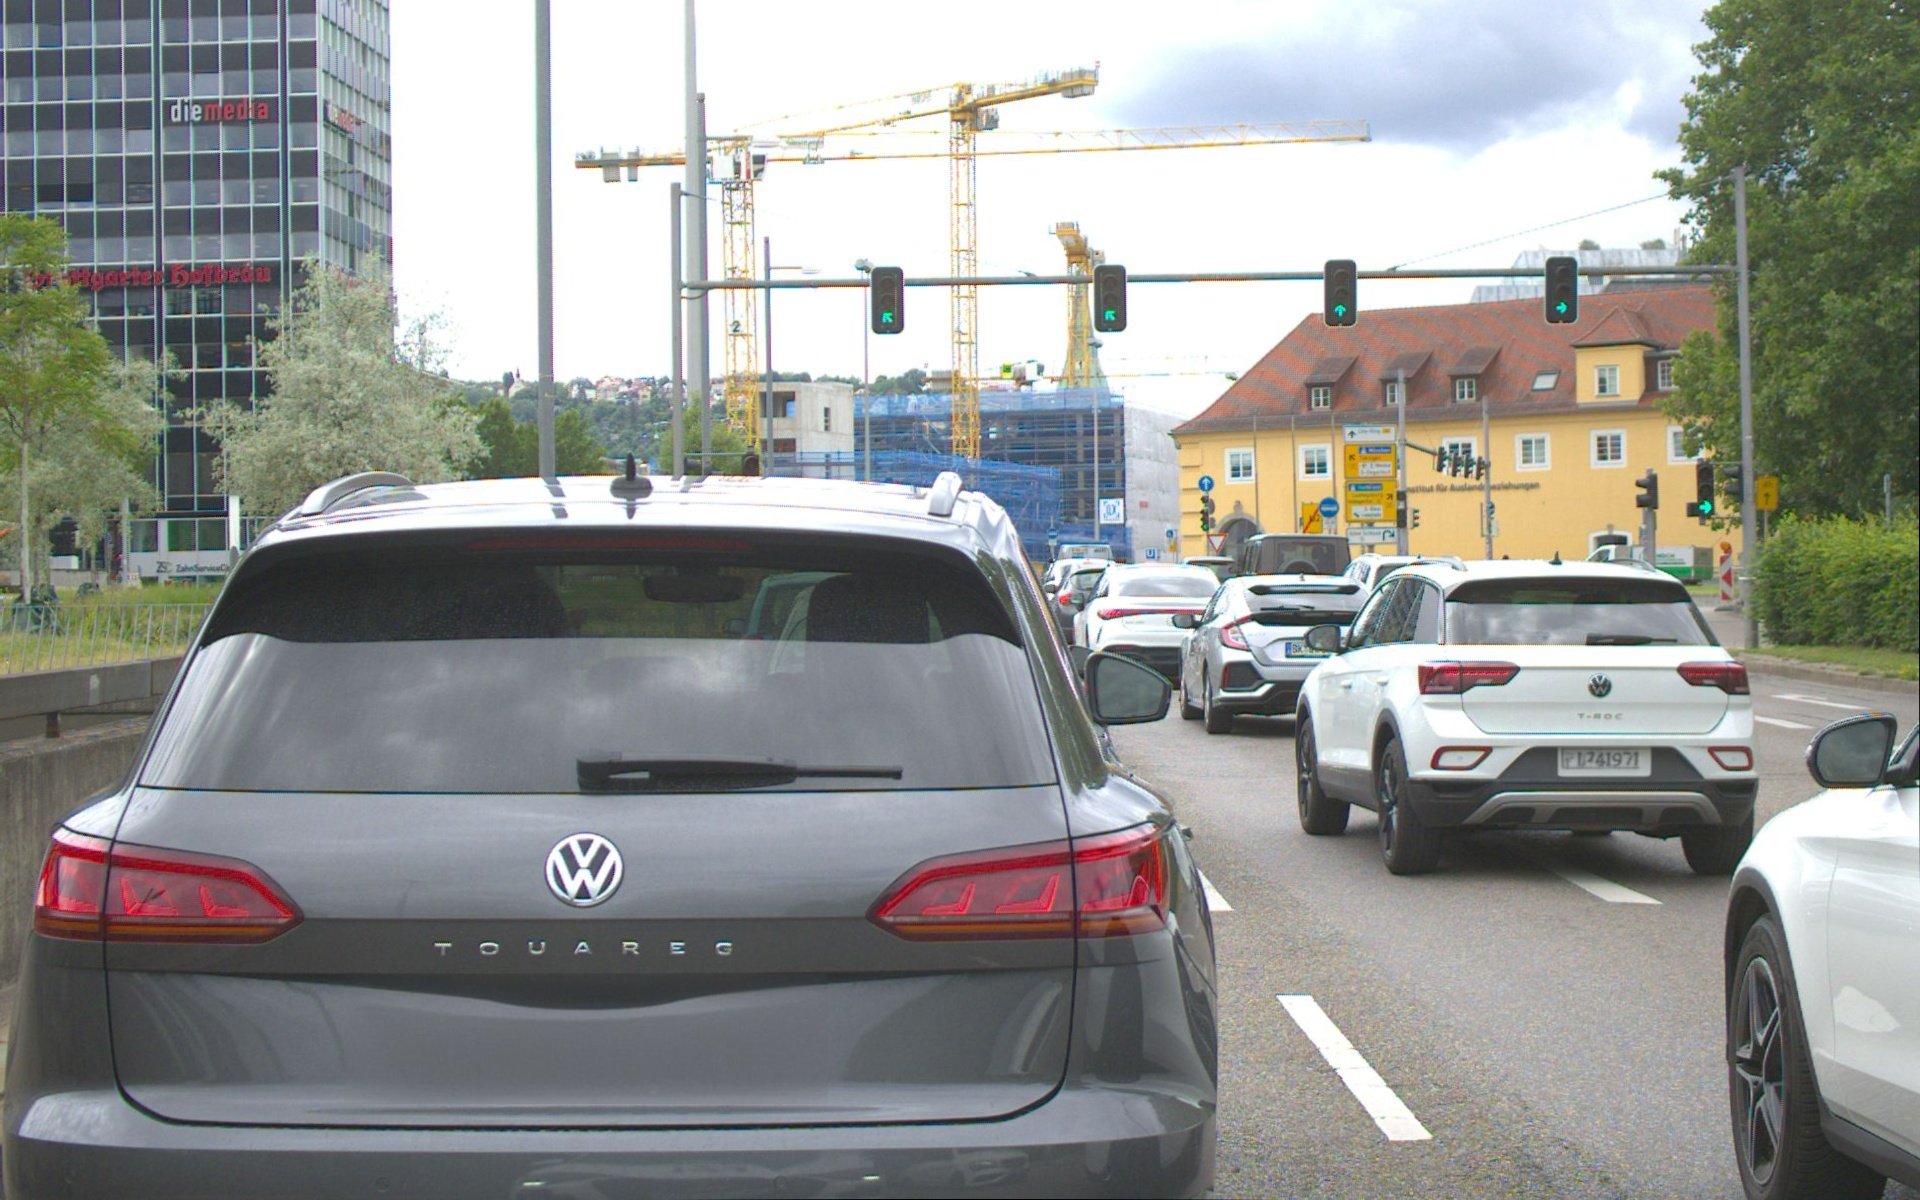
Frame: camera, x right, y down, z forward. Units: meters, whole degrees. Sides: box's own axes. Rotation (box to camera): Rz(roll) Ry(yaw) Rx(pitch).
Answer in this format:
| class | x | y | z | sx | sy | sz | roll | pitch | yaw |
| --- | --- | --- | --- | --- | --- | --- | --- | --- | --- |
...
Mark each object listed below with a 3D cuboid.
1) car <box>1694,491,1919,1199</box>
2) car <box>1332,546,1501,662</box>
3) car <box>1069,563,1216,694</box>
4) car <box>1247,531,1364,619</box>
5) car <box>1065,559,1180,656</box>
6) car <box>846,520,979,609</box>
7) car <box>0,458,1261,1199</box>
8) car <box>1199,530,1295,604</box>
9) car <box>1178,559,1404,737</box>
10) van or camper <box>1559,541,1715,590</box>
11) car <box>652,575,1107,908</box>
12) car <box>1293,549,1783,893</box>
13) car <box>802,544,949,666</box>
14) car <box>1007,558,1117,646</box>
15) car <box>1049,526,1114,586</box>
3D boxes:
| class | x | y | z | sx | sy | sz | roll | pitch | yaw |
| --- | --- | --- | --- | --- | --- | --- | --- | --- | --- |
| car | 2.687 | 0.627 | 6.200 | 1.819 | 1.641 | 4.379 | 0 | 1 | 1 |
| car | 6.160 | 0.021 | 46.785 | 1.803 | 1.497 | 3.981 | 0 | 1 | 1 |
| car | 2.246 | 0.315 | 42.575 | 1.719 | 1.497 | 3.981 | 0 | 1 | 3 |
| car | 6.097 | -0.469 | 61.043 | 1.719 | 1.497 | 3.981 | 0 | 1 | 1 |
| car | 2.631 | 0.100 | 56.376 | 1.719 | 1.497 | 3.981 | 0 | 1 | 0 |
| car | -0.800 | -0.654 | 60.935 | 2.244 | 1.497 | 4.611 | 0 | 1 | 1 |
| car | -0.576 | 0.587 | 6.757 | 1.933 | 1.641 | 4.000 | 0 | 1 | -1 |
| car | 5.997 | -0.711 | 72.119 | 1.719 | 1.497 | 3.981 | 0 | 1 | 1 |
| car | 2.990 | 0.392 | 31.764 | 1.719 | 1.497 | 4.144 | 0 | 1 | 1 |
| van or camper | 27.988 | -1.431 | 142.266 | 6.017 | 2.007 | 2.015 | 0 | 1 | 35 |
| car | -0.374 | 0.606 | 17.053 | 1.993 | 1.382 | 4.000 | 0 | 1 | -1 |
| car | 2.890 | 0.541 | 18.002 | 1.893 | 1.580 | 3.801 | 0 | 1 | 0 |
| car | -1.067 | 0.028 | 44.594 | 1.814 | 1.491 | 3.906 | 0 | 1 | -1 |
| car | 2.068 | 0.021 | 69.139 | 2.139 | 1.722 | 4.070 | 0 | 0 | 2 |
| car | 4.105 | -1.500 | 116.772 | 1.993 | 2.007 | 4.000 | 0 | 1 | -1 |
